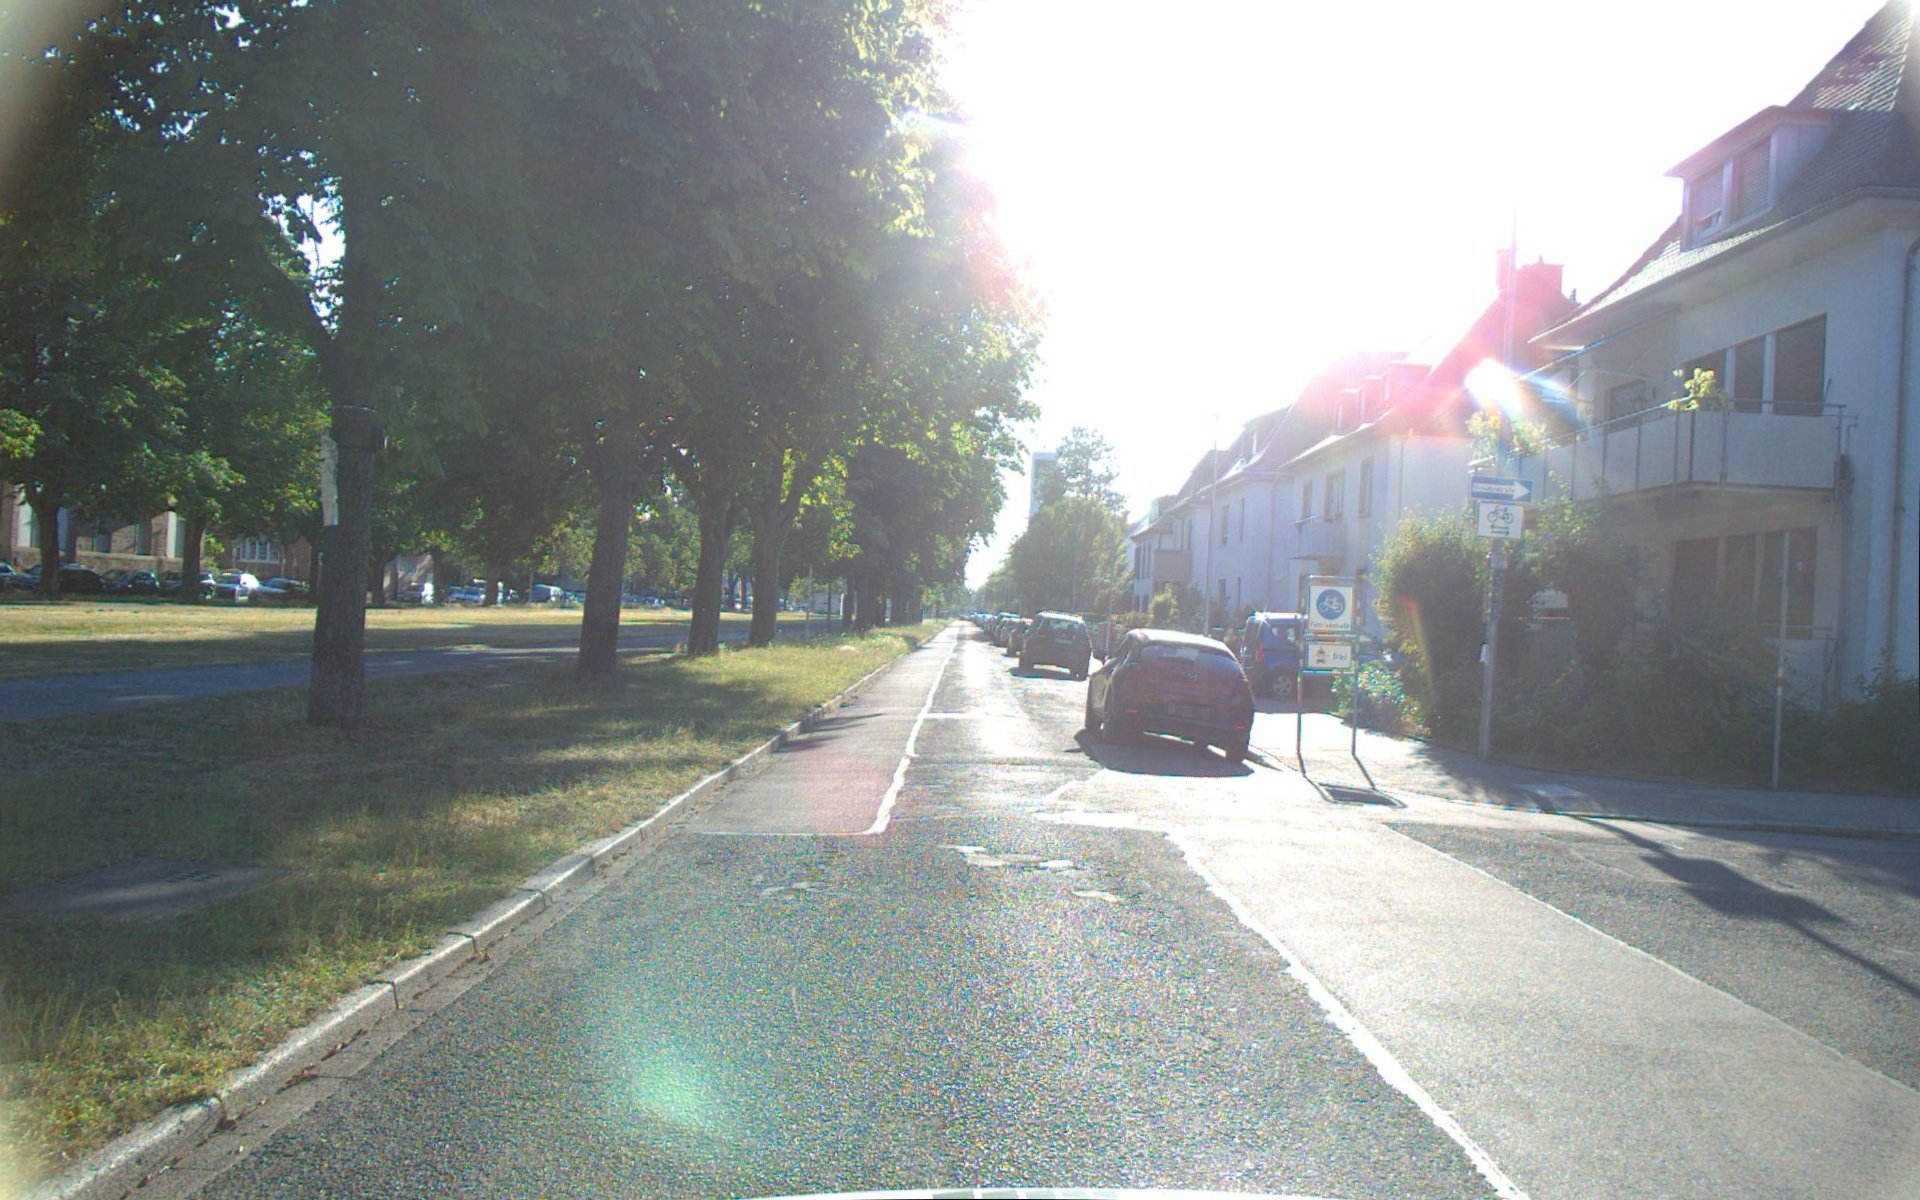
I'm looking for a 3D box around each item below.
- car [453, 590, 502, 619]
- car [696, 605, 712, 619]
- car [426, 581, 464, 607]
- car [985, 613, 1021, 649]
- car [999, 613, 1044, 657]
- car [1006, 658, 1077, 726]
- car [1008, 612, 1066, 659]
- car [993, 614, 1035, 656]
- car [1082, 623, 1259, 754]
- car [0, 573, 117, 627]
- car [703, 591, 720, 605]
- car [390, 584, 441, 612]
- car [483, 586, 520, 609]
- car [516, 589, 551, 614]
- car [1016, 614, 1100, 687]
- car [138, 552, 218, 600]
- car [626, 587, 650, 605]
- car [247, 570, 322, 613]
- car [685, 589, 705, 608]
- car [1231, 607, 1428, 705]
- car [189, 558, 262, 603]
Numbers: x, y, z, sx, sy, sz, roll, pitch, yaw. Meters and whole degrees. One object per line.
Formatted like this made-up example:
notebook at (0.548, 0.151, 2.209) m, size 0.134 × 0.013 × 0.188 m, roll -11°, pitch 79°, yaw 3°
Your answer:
car at (-32.707, 0.312, 112.159) m, size 1.982 × 1.687 × 3.983 m, roll 5°, pitch -2°, yaw 1°
car at (-33.264, 1.605, 214.903) m, size 1.580 × 1.565 × 3.353 m, roll 5°, pitch -3°, yaw -2°
car at (-39.094, -0.452, 125.554) m, size 1.607 × 1.671 × 3.853 m, roll 5°, pitch -2°, yaw -2°
car at (2.696, 1.988, 105.094) m, size 1.954 × 2.048 × 3.999 m, roll 5°, pitch -2°, yaw -1°
car at (3.157, 1.801, 85.337) m, size 1.954 × 2.048 × 3.999 m, roll 5°, pitch -2°, yaw -1°
car at (2.575, 2.909, 53.022) m, size 1.845 × 1.892 × 3.998 m, roll 5°, pitch -2°, yaw -1°
car at (3.011, 1.406, 65.095) m, size 1.953 × 1.682 × 3.999 m, roll 4°, pitch -2°, yaw -1°
car at (2.929, 1.943, 90.916) m, size 1.954 × 2.048 × 3.999 m, roll 5°, pitch -2°, yaw -1°
car at (2.644, 1.100, 21.614) m, size 1.675 × 1.383 × 4.202 m, roll 5°, pitch -2°, yaw 0°
car at (-33.343, 0.029, 61.217) m, size 1.841 × 1.703 × 4.315 m, roll 5°, pitch -2°, yaw 1°
car at (-38.922, -0.358, 258.648) m, size 1.953 × 2.049 × 3.999 m, roll 3°, pitch 0°, yaw 0°
car at (-38.613, -0.128, 117.363) m, size 1.953 × 1.687 × 4.355 m, roll 5°, pitch -2°, yaw 2°
car at (-39.093, -0.176, 141.013) m, size 1.954 × 1.646 × 3.998 m, roll 5°, pitch -2°, yaw -2°
car at (-33.890, 0.126, 131.482) m, size 1.694 × 1.719 × 3.877 m, roll 5°, pitch -3°, yaw -2°
car at (2.761, 1.406, 47.341) m, size 1.954 × 1.812 × 3.999 m, roll 5°, pitch 0°, yaw -1°
car at (-38.700, -1.172, 81.965) m, size 1.954 × 2.048 × 3.998 m, roll 5°, pitch -2°, yaw -2°
car at (-39.879, -0.471, 204.836) m, size 1.953 × 1.946 × 3.999 m, roll 5°, pitch -2°, yaw 0°
car at (-33.202, -0.397, 81.428) m, size 1.775 × 1.811 × 4.122 m, roll 5°, pitch -2°, yaw 1°
car at (-31.820, -0.180, 198.616) m, size 1.621 × 1.972 × 3.566 m, roll 5°, pitch -3°, yaw -1°
car at (8.166, 1.261, 36.706) m, size 3.909 × 1.854 × 1.758 m, roll 3°, pitch -7°, yaw -4°
car at (-38.953, -1.000, 87.819) m, size 1.954 × 2.048 × 3.998 m, roll 5°, pitch -2°, yaw -2°
